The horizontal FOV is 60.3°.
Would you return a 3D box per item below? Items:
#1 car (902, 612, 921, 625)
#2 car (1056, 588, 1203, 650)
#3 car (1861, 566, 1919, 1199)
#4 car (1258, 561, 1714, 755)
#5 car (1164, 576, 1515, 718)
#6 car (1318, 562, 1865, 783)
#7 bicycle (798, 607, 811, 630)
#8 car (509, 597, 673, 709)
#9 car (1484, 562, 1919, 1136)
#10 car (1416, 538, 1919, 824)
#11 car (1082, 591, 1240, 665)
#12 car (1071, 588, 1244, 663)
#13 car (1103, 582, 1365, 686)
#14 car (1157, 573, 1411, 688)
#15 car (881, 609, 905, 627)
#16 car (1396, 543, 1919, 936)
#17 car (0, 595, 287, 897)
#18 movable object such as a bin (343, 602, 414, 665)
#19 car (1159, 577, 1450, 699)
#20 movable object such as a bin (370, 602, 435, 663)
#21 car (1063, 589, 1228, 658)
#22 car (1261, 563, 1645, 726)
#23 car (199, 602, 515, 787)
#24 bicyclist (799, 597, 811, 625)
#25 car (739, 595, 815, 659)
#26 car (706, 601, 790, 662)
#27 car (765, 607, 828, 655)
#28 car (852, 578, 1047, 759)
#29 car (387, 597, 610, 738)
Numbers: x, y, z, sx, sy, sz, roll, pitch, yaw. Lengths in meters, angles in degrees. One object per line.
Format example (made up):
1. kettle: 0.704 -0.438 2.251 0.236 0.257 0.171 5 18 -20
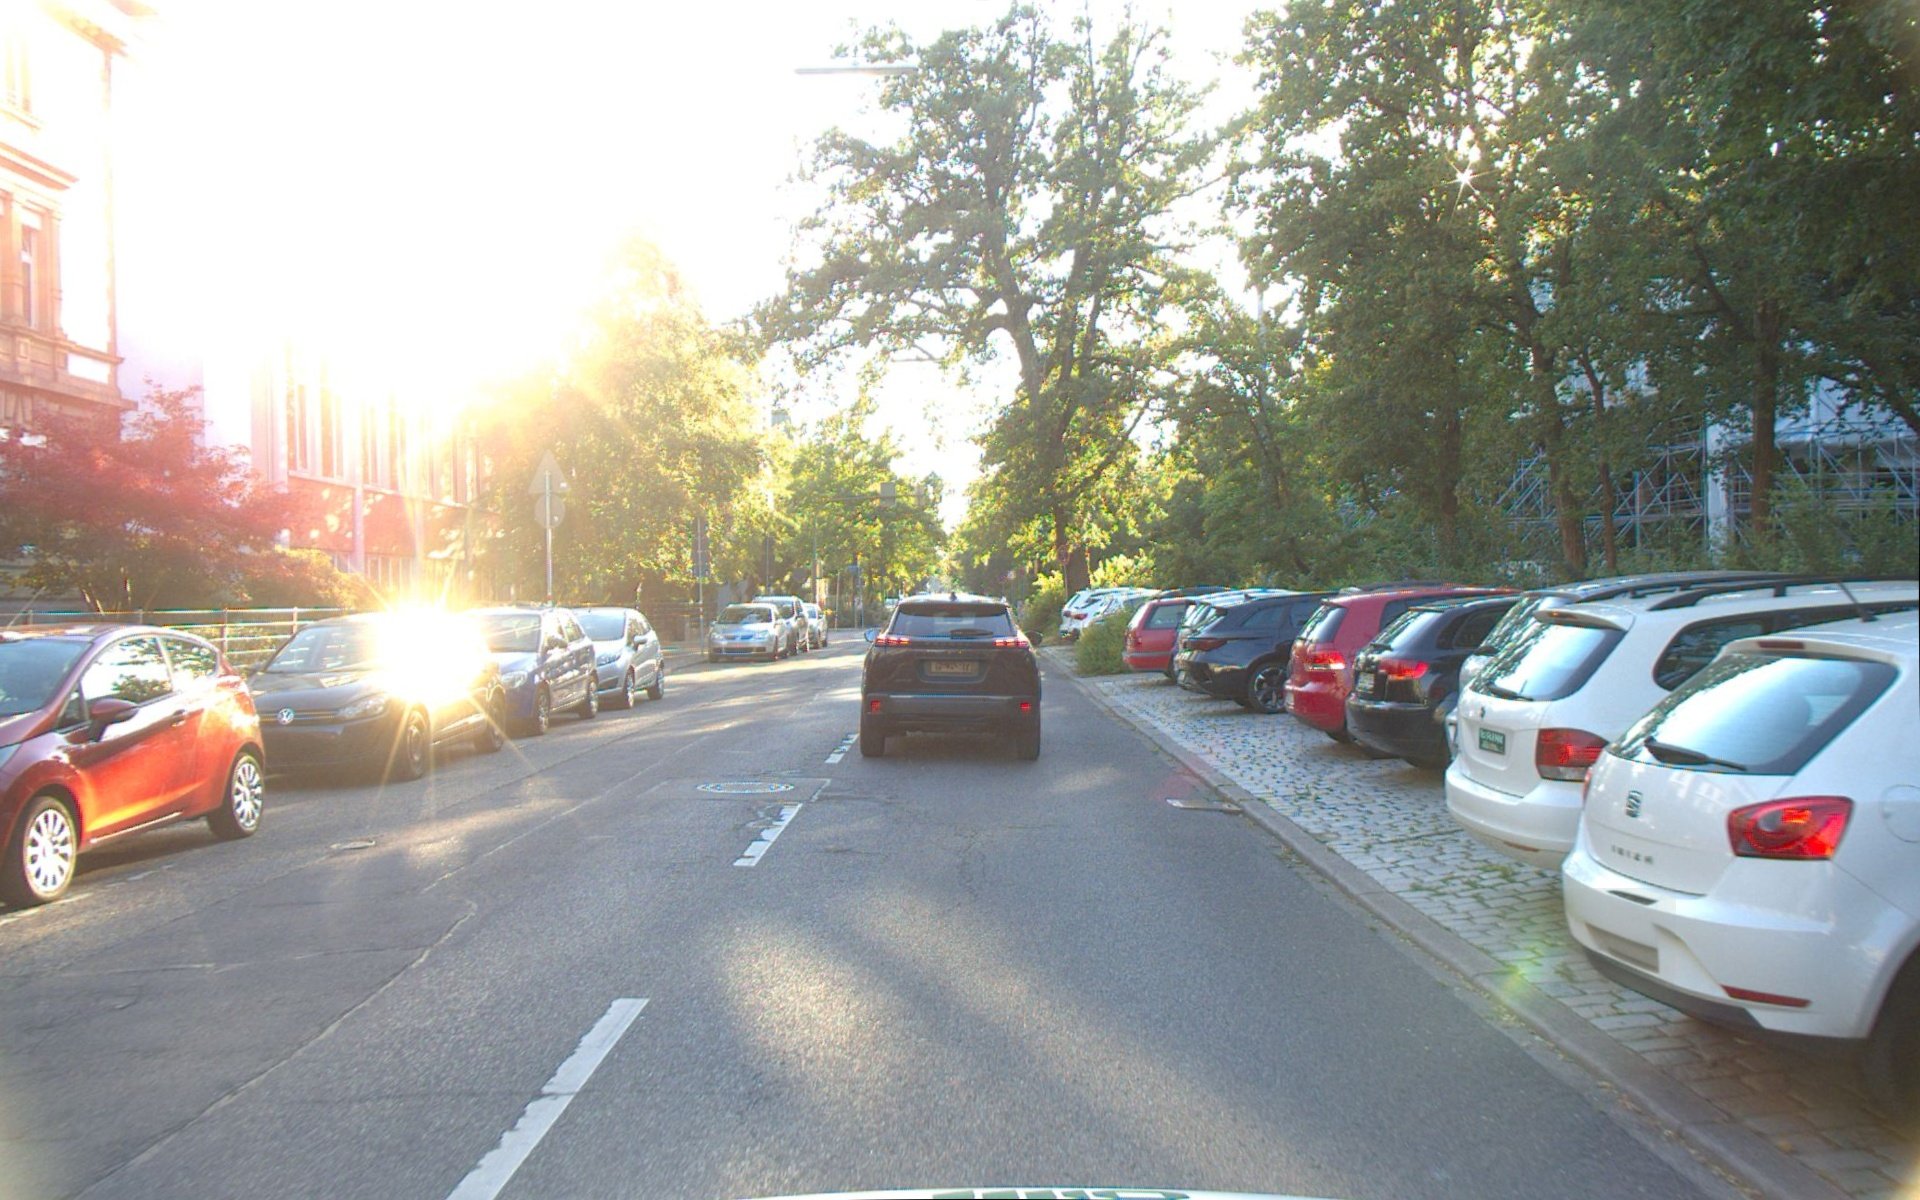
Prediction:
1. car: -5.062 1.914 172.068 1.774 1.378 3.976 -1 0 -4
2. car: 4.777 0.533 46.950 4.082 1.740 1.868 0 0 4
3. car: 3.922 0.581 3.064 3.538 1.552 1.671 -4 0 -2
4. car: 4.908 0.538 15.825 3.730 1.500 1.756 -4 -1 0
5. car: 4.771 0.582 21.238 4.035 1.500 1.832 -3 -1 1
6. car: 4.951 0.560 13.354 3.672 1.419 1.756 -4 -1 0
7. bicycle: -8.822 1.047 93.962 0.673 1.271 2.189 0 0 -8
8. car: -5.538 0.752 25.234 1.568 1.520 3.772 -2 0 1
9. car: 3.818 0.582 5.380 3.593 1.470 1.734 -4 0 -2
10. car: 5.068 0.454 10.726 3.649 1.524 1.820 -4 -1 0
11. car: 4.785 0.680 39.730 3.516 1.594 1.818 -3 -1 -1
12. car: 4.420 0.575 37.315 3.669 1.622 1.696 0 -1 -2
13. car: 4.715 0.568 28.900 4.249 1.501 1.742 -3 1 1
14. car: 5.183 0.483 26.750 3.639 1.583 1.740 -3 -1 -4
15. car: -5.347 1.432 131.985 1.775 1.378 3.996 -1 0 -5
16. car: 4.223 0.551 8.146 3.593 1.579 1.734 -4 0 -2
17. car: -5.542 0.752 9.751 1.566 1.480 3.861 -2 0 -1
18. movable object such as a bin: -13.727 0.776 39.079 1.076 1.455 1.486 0 0 3
19. car: 4.952 0.541 24.184 3.843 1.479 1.832 -3 -1 1
20. movable object such as a bin: -13.650 0.792 40.532 1.076 1.455 1.373 0 0 3
21. car: 4.684 0.599 42.174 4.038 1.696 1.723 0 -1 0
22. car: 5.467 0.490 18.714 3.730 1.500 1.832 -4 -1 0
23. car: -5.597 0.794 15.893 1.566 1.480 4.054 -2 0 -1
24. bicyclist: -8.837 0.625 94.065 0.663 1.631 0.705 0 -1 -7
25. car: -5.340 0.757 48.649 1.645 1.738 4.340 -2 0 1
26. car: -5.484 0.803 43.240 1.636 1.520 4.061 0 0 1
27. car: -5.402 1.004 55.040 1.645 1.482 3.882 -2 0 1
28. car: -0.128 0.629 16.795 1.732 1.596 3.379 2 0 -1
29. car: -5.652 0.766 20.714 1.565 1.534 3.788 -2 0 2
